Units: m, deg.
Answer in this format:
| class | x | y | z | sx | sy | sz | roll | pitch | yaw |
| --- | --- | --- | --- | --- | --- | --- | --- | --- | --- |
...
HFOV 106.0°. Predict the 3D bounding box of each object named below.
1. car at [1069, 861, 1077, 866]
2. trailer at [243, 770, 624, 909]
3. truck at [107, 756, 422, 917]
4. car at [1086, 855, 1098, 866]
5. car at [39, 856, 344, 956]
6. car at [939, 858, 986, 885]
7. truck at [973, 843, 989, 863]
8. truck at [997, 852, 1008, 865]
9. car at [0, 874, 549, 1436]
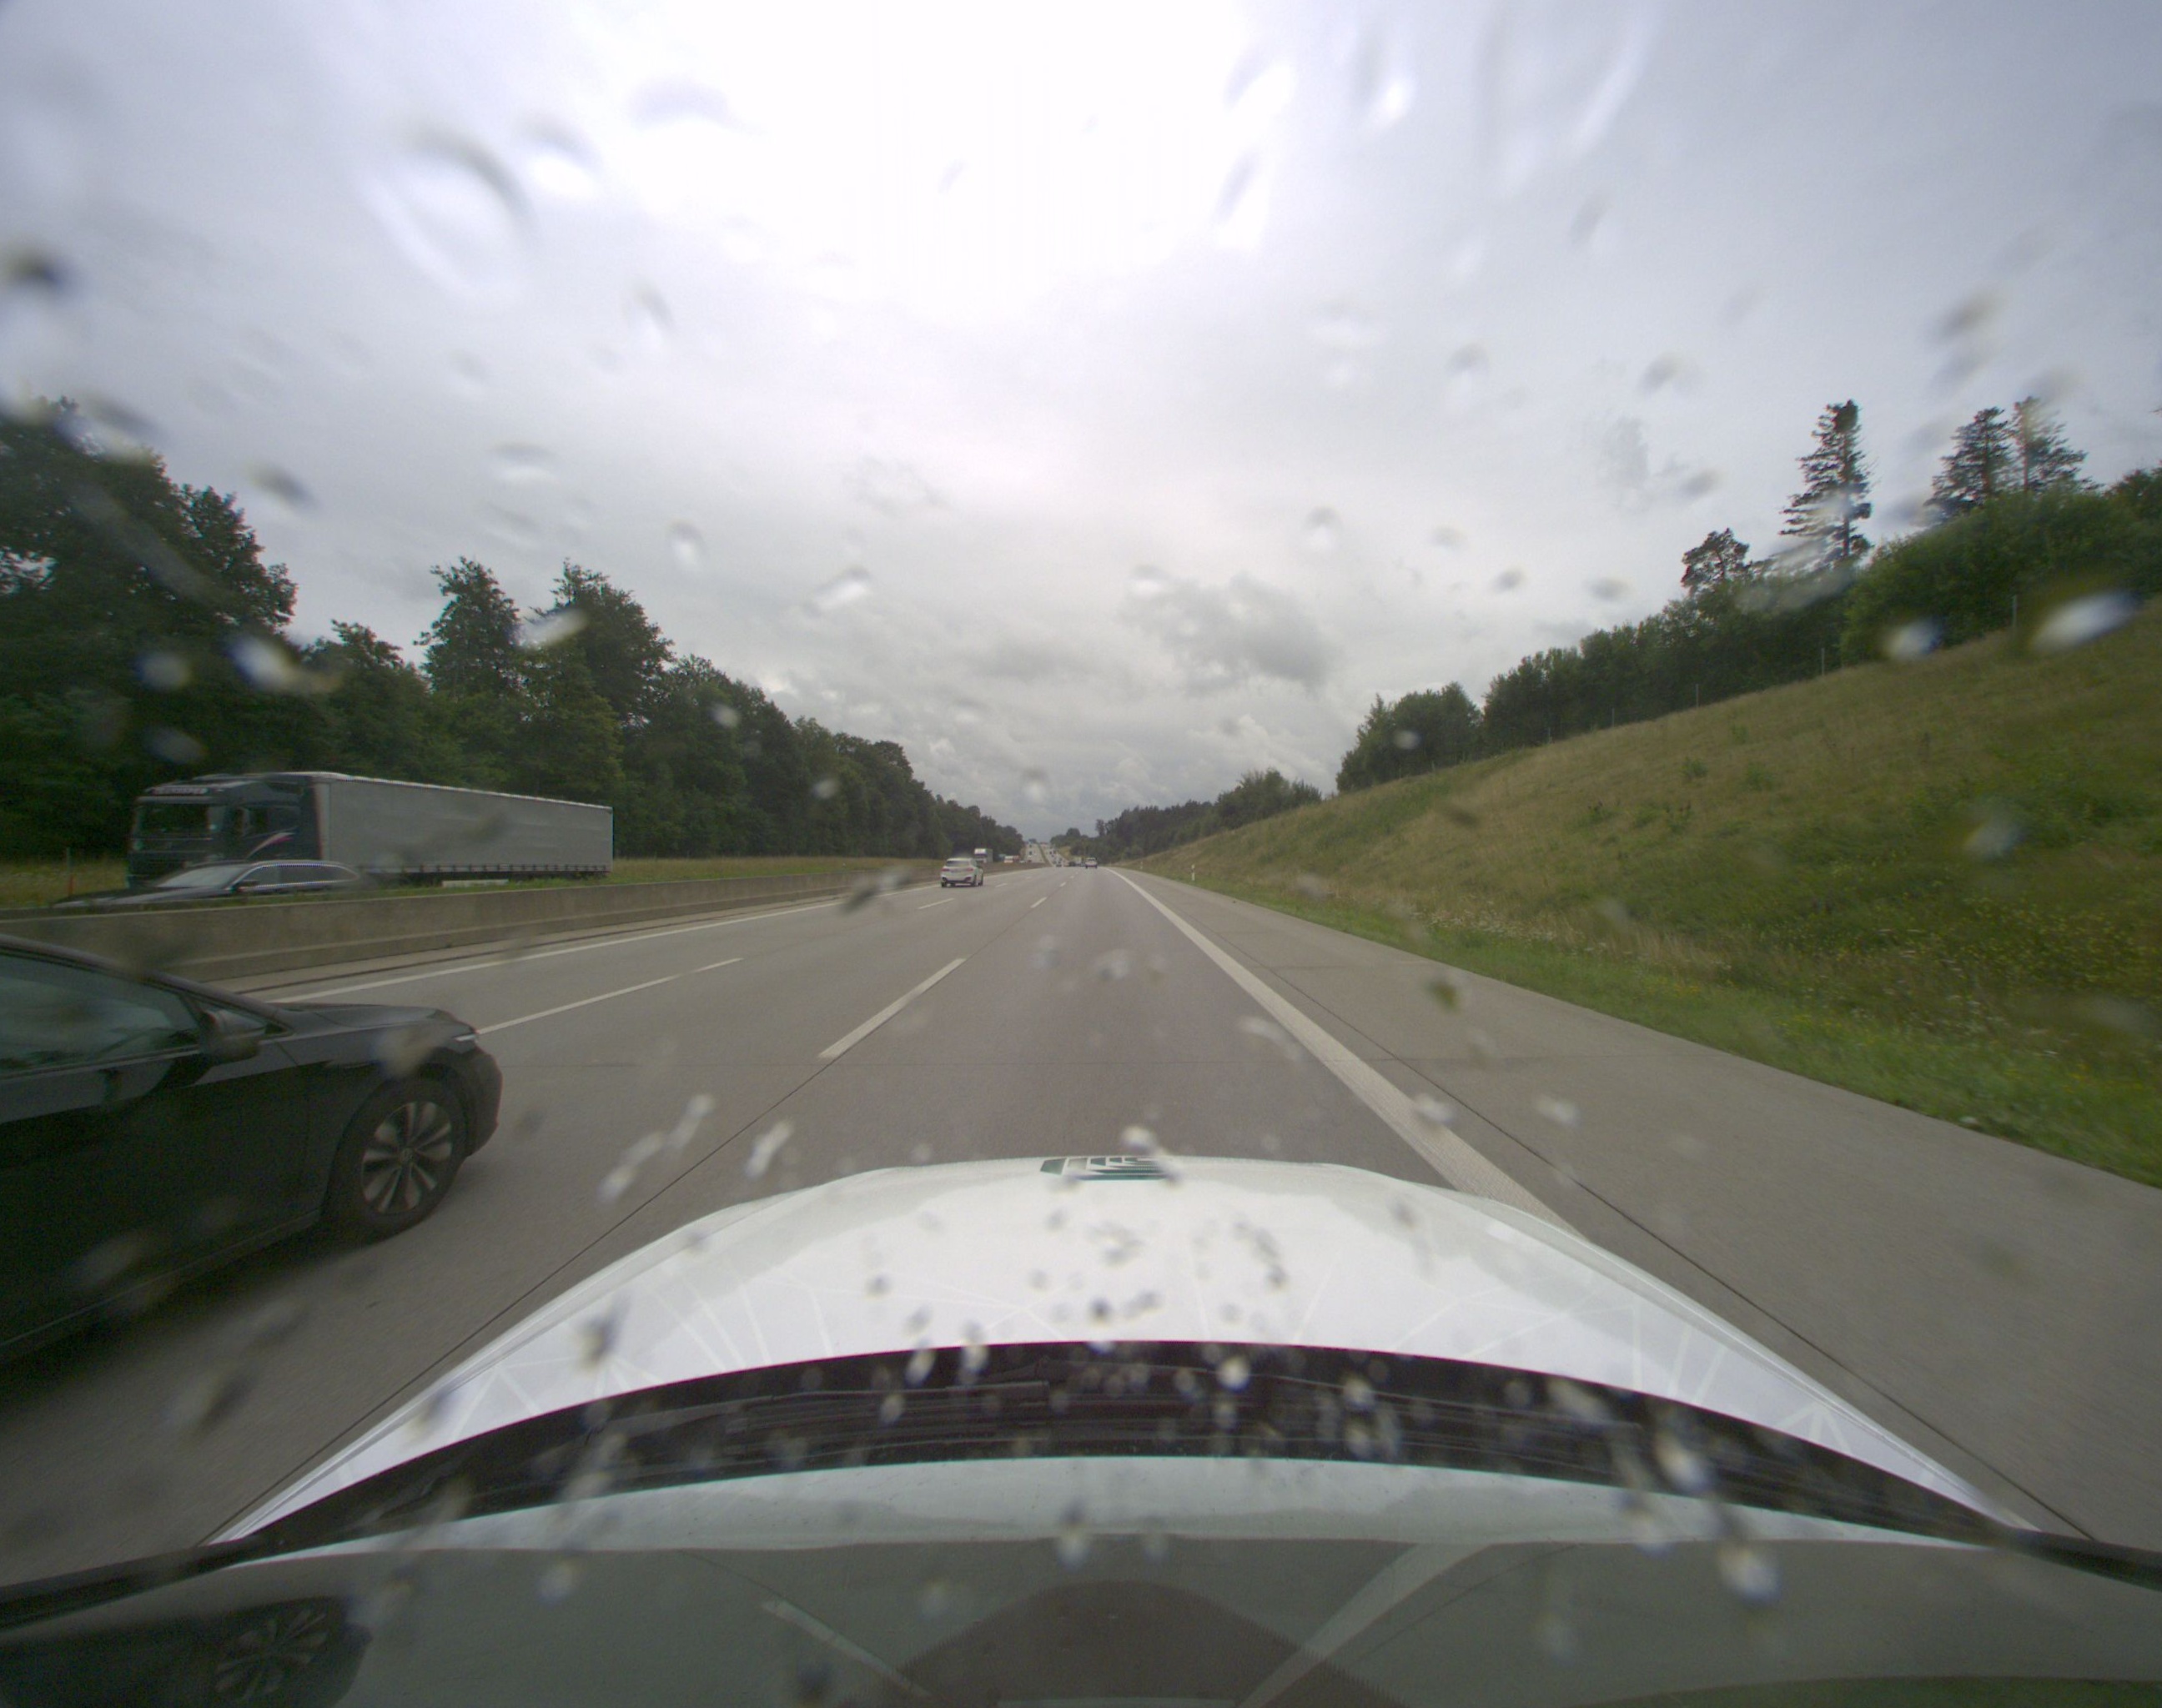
| class | x | y | z | sx | sy | sz | roll | pitch | yaw |
| --- | --- | --- | --- | --- | --- | --- | --- | --- | --- |
| car | -2.287 | 2.604 | 225.385 | 1.931 | 1.375 | 4.589 | 0 | 0 | -3 |
| trailer | -22.717 | -0.363 | 30.634 | 2.800 | 4.020 | 13.993 | 0 | 0 | 2 |
| truck | -22.944 | -0.443 | 23.467 | 2.793 | 4.028 | 6.086 | 0 | 0 | 2 |
| car | 1.745 | 1.008 | 128.991 | 1.820 | 1.655 | 3.984 | 0 | 0 | 0 |
| car | -16.257 | 0.877 | 15.192 | 1.682 | 1.633 | 3.596 | 0 | -1 | 1 |
| car | -6.392 | 0.923 | 44.264 | 1.941 | 1.356 | 4.258 | 0 | 0 | 0 |
| truck | -21.519 | -0.161 | 175.237 | 2.500 | 4.125 | 6.461 | 0 | 0 | 0 |
| truck | -23.582 | 1.348 | 245.201 | 2.772 | 3.740 | 5.658 | 0 | -1 | -1 |
| car | -3.665 | 0.806 | 1.960 | 1.746 | 1.398 | 4.485 | 0 | 0 | 1 |
